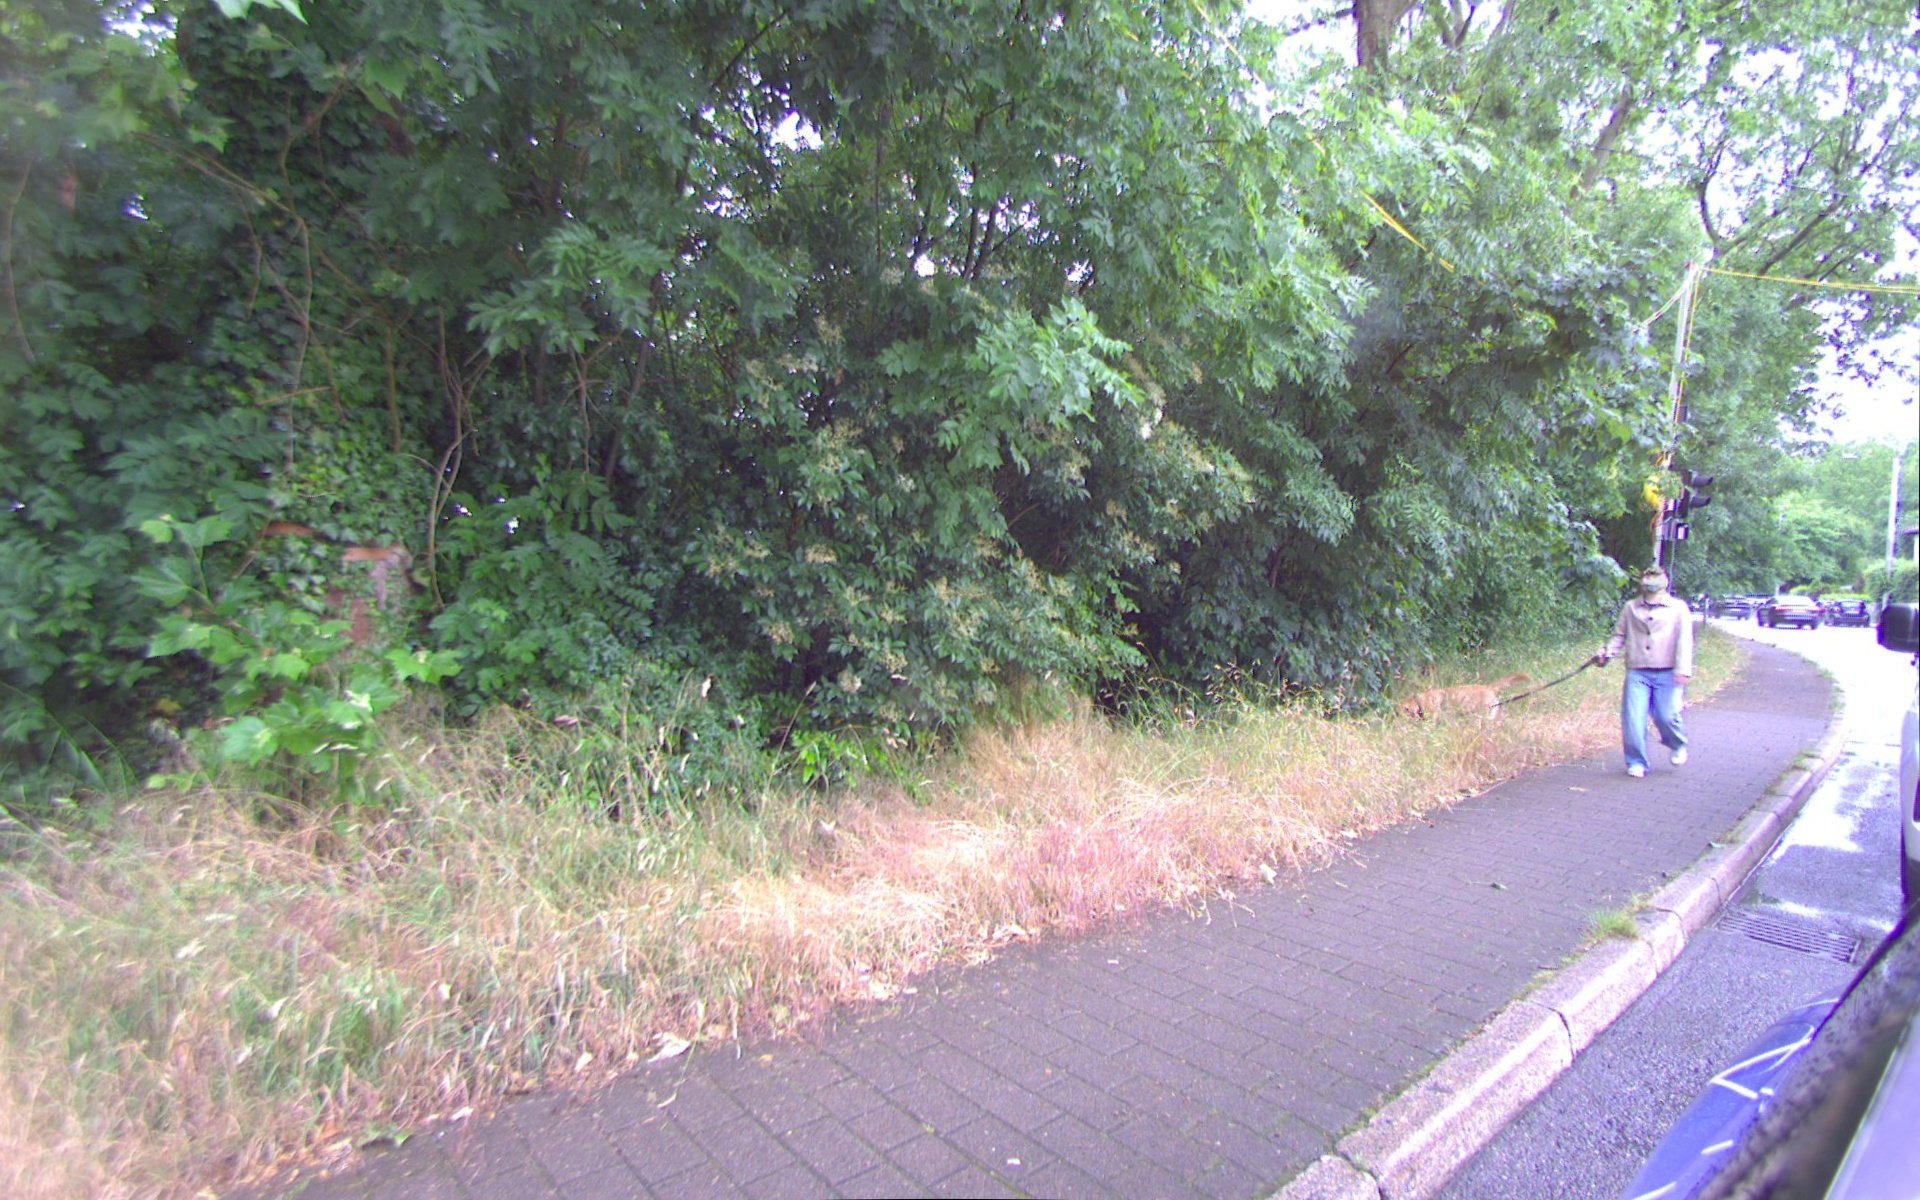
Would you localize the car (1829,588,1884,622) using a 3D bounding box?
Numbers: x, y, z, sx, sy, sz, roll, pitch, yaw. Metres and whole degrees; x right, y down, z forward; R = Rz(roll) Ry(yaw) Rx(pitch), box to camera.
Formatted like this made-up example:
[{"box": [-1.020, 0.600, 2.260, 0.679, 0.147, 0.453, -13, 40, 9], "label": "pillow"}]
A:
[{"box": [51.065, 0.276, 57.710, 1.869, 1.848, 4.075, 1, 1, 35], "label": "car"}]

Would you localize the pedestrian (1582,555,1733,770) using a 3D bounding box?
[{"box": [5.319, 0.436, 7.721, 0.771, 1.517, 0.734, 0, 2, -42], "label": "pedestrian"}]

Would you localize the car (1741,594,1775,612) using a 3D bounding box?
[{"box": [64.946, 0.210, 82.375, 1.676, 1.445, 3.734, 1, 1, 31], "label": "car"}]

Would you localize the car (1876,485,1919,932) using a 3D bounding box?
[{"box": [6.650, 0.478, 5.350, 5.001, 1.943, 2.100, 0, 0, -41], "label": "car"}]

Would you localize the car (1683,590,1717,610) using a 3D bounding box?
[{"box": [59.780, -0.019, 81.826, 1.845, 1.547, 4.764, 0, 0, 32], "label": "car"}]

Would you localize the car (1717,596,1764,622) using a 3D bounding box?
[{"box": [50.374, 0.544, 65.404, 1.857, 1.642, 4.120, 0, 0, 30], "label": "car"}]

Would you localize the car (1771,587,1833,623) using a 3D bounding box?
[{"box": [42.293, 0.232, 50.930, 1.987, 1.695, 4.629, 0, 0, 35], "label": "car"}]
